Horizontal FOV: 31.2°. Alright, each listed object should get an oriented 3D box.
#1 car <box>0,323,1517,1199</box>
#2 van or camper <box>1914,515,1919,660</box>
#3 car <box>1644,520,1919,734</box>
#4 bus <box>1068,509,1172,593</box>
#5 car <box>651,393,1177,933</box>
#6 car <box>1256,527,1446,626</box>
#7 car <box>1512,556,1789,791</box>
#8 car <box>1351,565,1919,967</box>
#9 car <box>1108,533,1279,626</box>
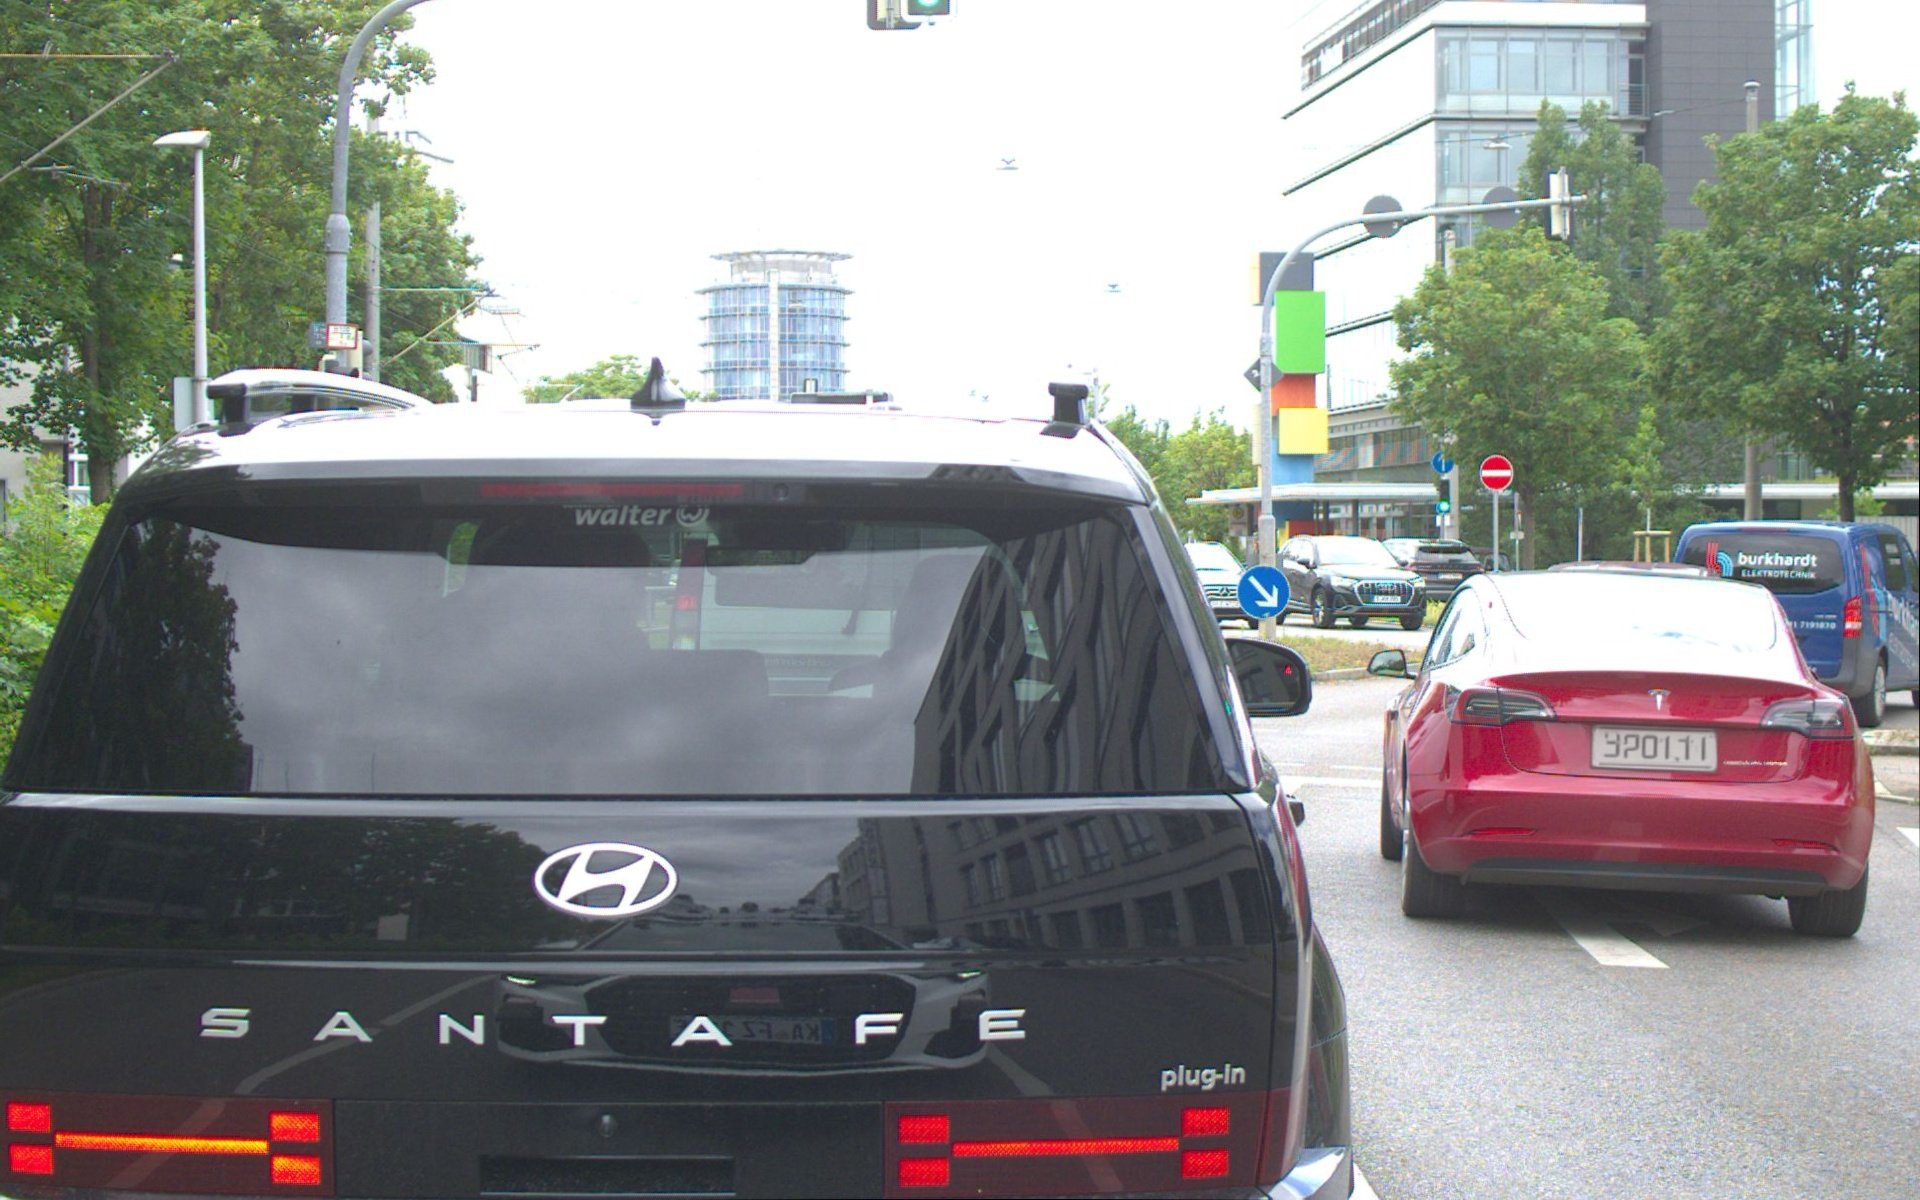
[{"bbox_3d":[-0.397,0.538,5.954,1.902,1.725,4.446,2,1,-1],"label":"car"},{"bbox_3d":[14.195,-0.192,47.296,1.995,1.911,4.406,2,2,16],"label":"van or camper"},{"bbox_3d":[8.125,0.214,32.935,1.905,1.852,4.703,2,1,26],"label":"car"},{"bbox_3d":[6.128,-1.873,133.217,2.966,3.106,9.245,-1,0,-4],"label":"bus"},{"bbox_3d":[-0.033,0.188,15.170,1.902,1.962,4.635,2,1,4],"label":"car"},{"bbox_3d":[6.769,-0.431,59.970,1.887,1.559,4.397,1,2,-13],"label":"car"},{"bbox_3d":[4.884,0.452,24.351,1.745,1.476,3.717,1,1,11],"label":"car"},{"bbox_3d":[2.792,0.595,15.095,1.873,1.413,4.442,2,1,4],"label":"car"},{"bbox_3d":[3.943,-0.379,58.662,1.782,1.421,4.397,1,2,-11],"label":"car"}]
